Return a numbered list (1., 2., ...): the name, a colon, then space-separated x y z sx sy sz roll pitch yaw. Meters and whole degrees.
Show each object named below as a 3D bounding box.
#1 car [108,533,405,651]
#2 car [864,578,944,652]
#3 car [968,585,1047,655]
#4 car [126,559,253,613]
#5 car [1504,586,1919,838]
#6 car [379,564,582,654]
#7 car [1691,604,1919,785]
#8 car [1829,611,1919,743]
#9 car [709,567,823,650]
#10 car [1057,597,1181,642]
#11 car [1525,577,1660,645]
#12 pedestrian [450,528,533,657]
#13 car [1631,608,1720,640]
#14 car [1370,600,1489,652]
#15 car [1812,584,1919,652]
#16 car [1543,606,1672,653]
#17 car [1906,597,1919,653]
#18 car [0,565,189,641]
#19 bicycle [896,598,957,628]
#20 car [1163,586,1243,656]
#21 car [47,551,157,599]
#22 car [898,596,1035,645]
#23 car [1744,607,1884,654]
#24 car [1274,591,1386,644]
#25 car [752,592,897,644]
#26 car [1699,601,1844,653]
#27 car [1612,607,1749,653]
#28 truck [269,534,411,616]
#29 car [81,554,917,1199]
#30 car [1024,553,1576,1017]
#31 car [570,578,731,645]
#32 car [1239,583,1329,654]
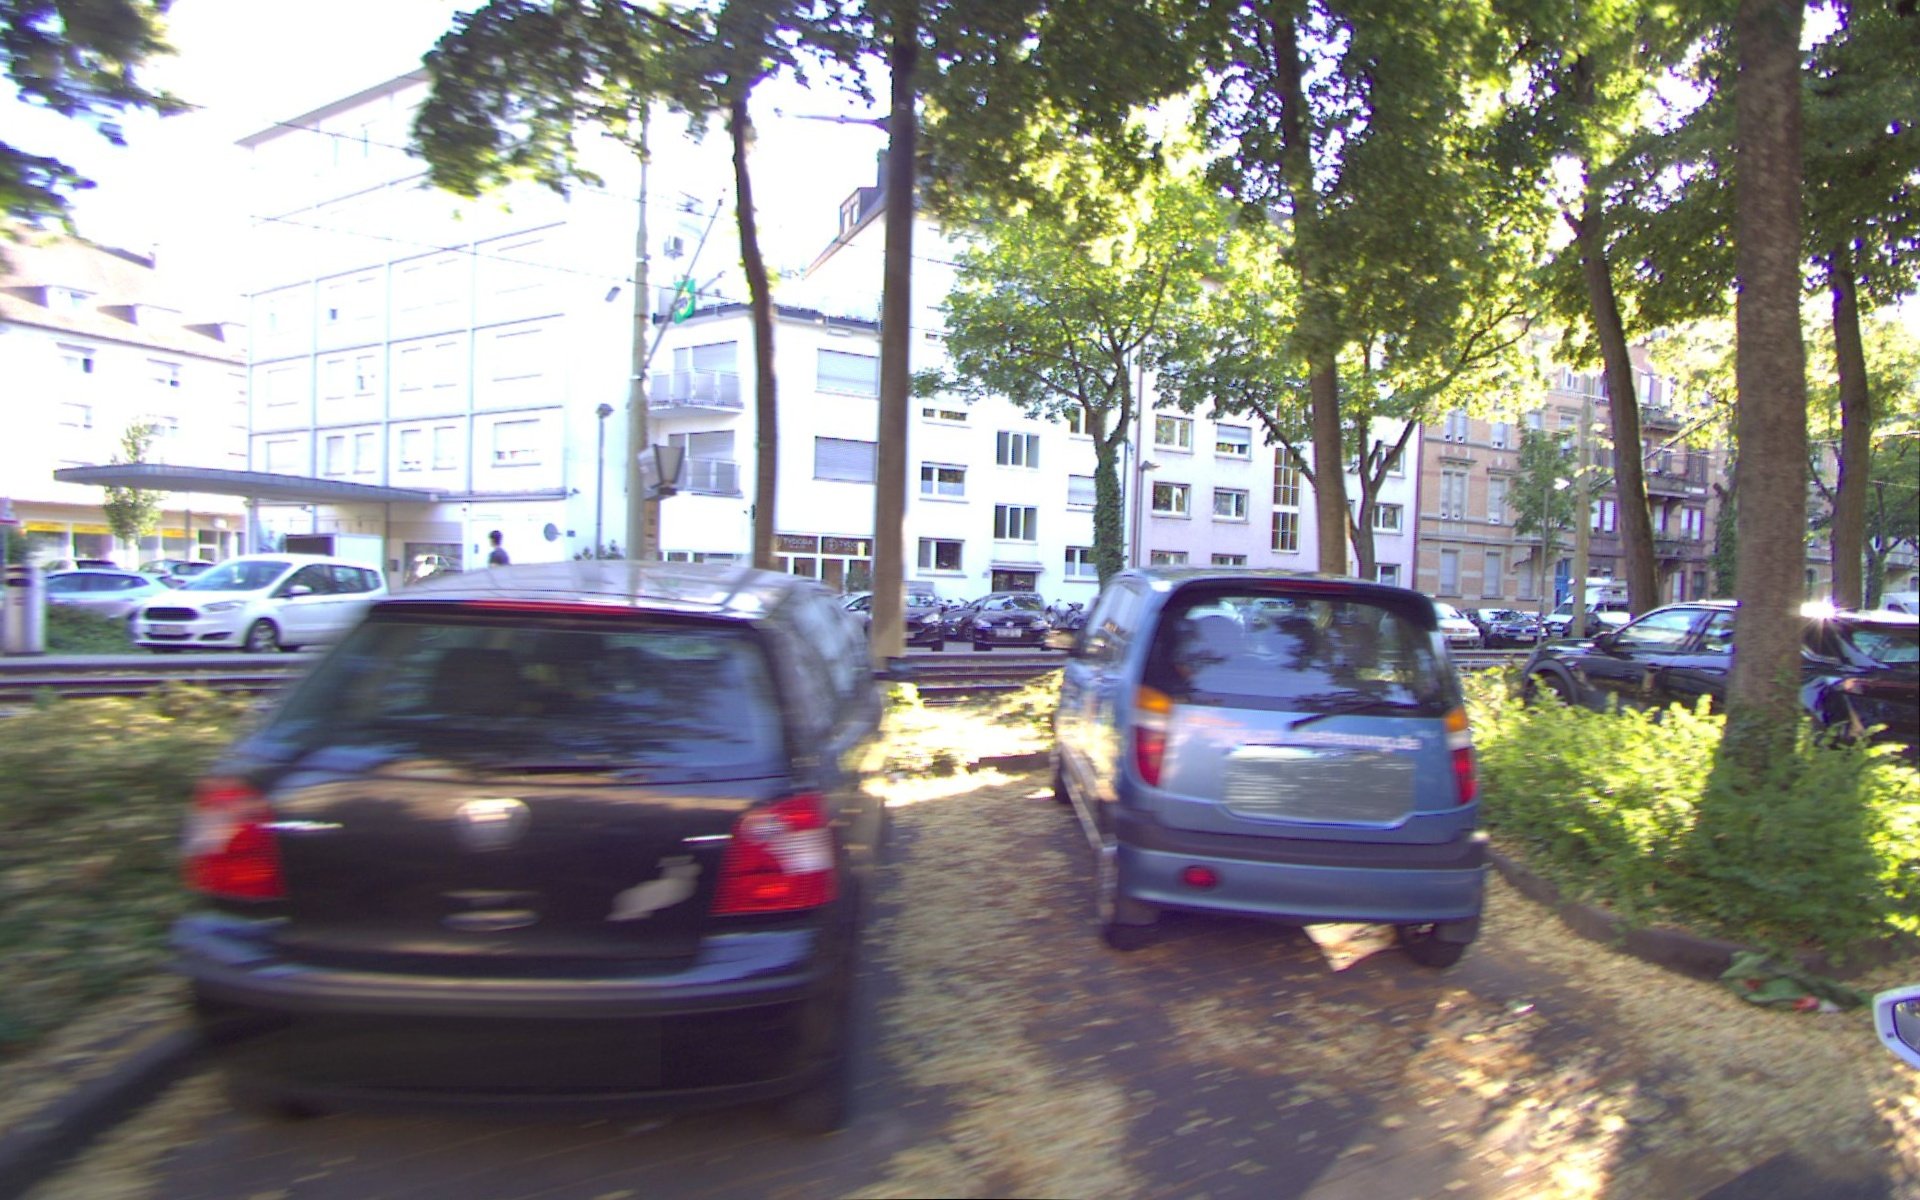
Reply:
1. car: -11.298 -0.006 16.563 1.575 1.674 4.245 0 -3 6
2. car: -1.153 0.412 22.251 1.576 1.477 4.242 0 -3 -1
3. car: 1.027 0.539 23.474 1.576 1.477 4.242 0 -3 -1
4. car: -24.058 -0.444 31.336 3.933 1.553 1.994 2 1 34
5. car: 6.780 0.769 8.695 1.705 1.517 3.825 3 3 -6
6. car: -8.538 0.251 18.322 1.667 1.455 4.207 0 -3 0
7. car: 9.078 0.909 9.159 1.705 1.410 3.825 3 3 -6
8. car: 11.749 1.003 10.494 1.705 1.410 3.825 3 3 -6
9. car: -3.886 0.269 20.809 1.576 1.527 4.242 0 -3 -1
10. car: 5.467 0.668 34.562 3.943 1.465 1.707 1 0 -23
11. car: 28.770 0.528 45.696 5.403 2.926 2.546 1 0 -23
12. pedestrian: -7.304 -0.121 15.667 0.836 1.936 0.835 2 1 34
13. car: 34.559 1.167 48.515 3.943 1.465 1.707 1 0 -23
14. car: 14.197 0.844 30.641 1.820 1.492 4.244 0 -3 3
15. car: 38.146 0.833 41.111 2.228 2.605 5.272 0 -3 3
16. car: 21.998 1.050 34.343 1.820 1.492 4.244 0 -3 3
17. car: 45.979 1.081 45.075 2.228 2.605 5.272 0 -3 3
18. car: -18.329 0.058 20.435 3.953 1.465 1.702 1 0 -30
19. bicycle: -1.201 0.471 36.305 2.146 1.016 0.530 1 1 -25
20. car: 6.247 0.619 26.181 1.820 1.673 4.245 0 -3 11
21. car: -30.321 -0.888 35.467 3.933 1.553 1.994 2 1 34
22. car: 0.198 0.635 31.579 3.943 1.465 1.707 1 0 -23
23. car: 32.512 1.208 38.421 1.820 1.721 4.244 0 -3 3
24. car: 14.260 0.673 38.740 3.943 1.958 1.707 1 0 -23
25. car: -4.015 0.542 29.703 3.943 1.465 1.707 1 0 -23
26. car: 28.467 0.995 35.434 1.820 1.721 4.244 0 -3 3
27. car: 24.699 1.081 34.659 1.820 1.492 4.244 0 -3 3
28. truck: -20.876 -0.859 33.756 4.884 2.568 1.996 2 1 31
29. car: -0.993 0.604 3.824 1.576 1.467 3.617 2 3 -2
30. car: 1.309 0.584 5.351 1.576 1.584 3.617 2 3 -1
31. car: -8.417 0.327 27.360 3.950 1.695 1.704 1 0 -28
32. car: 8.718 0.582 27.341 1.820 1.771 4.245 0 -3 11
